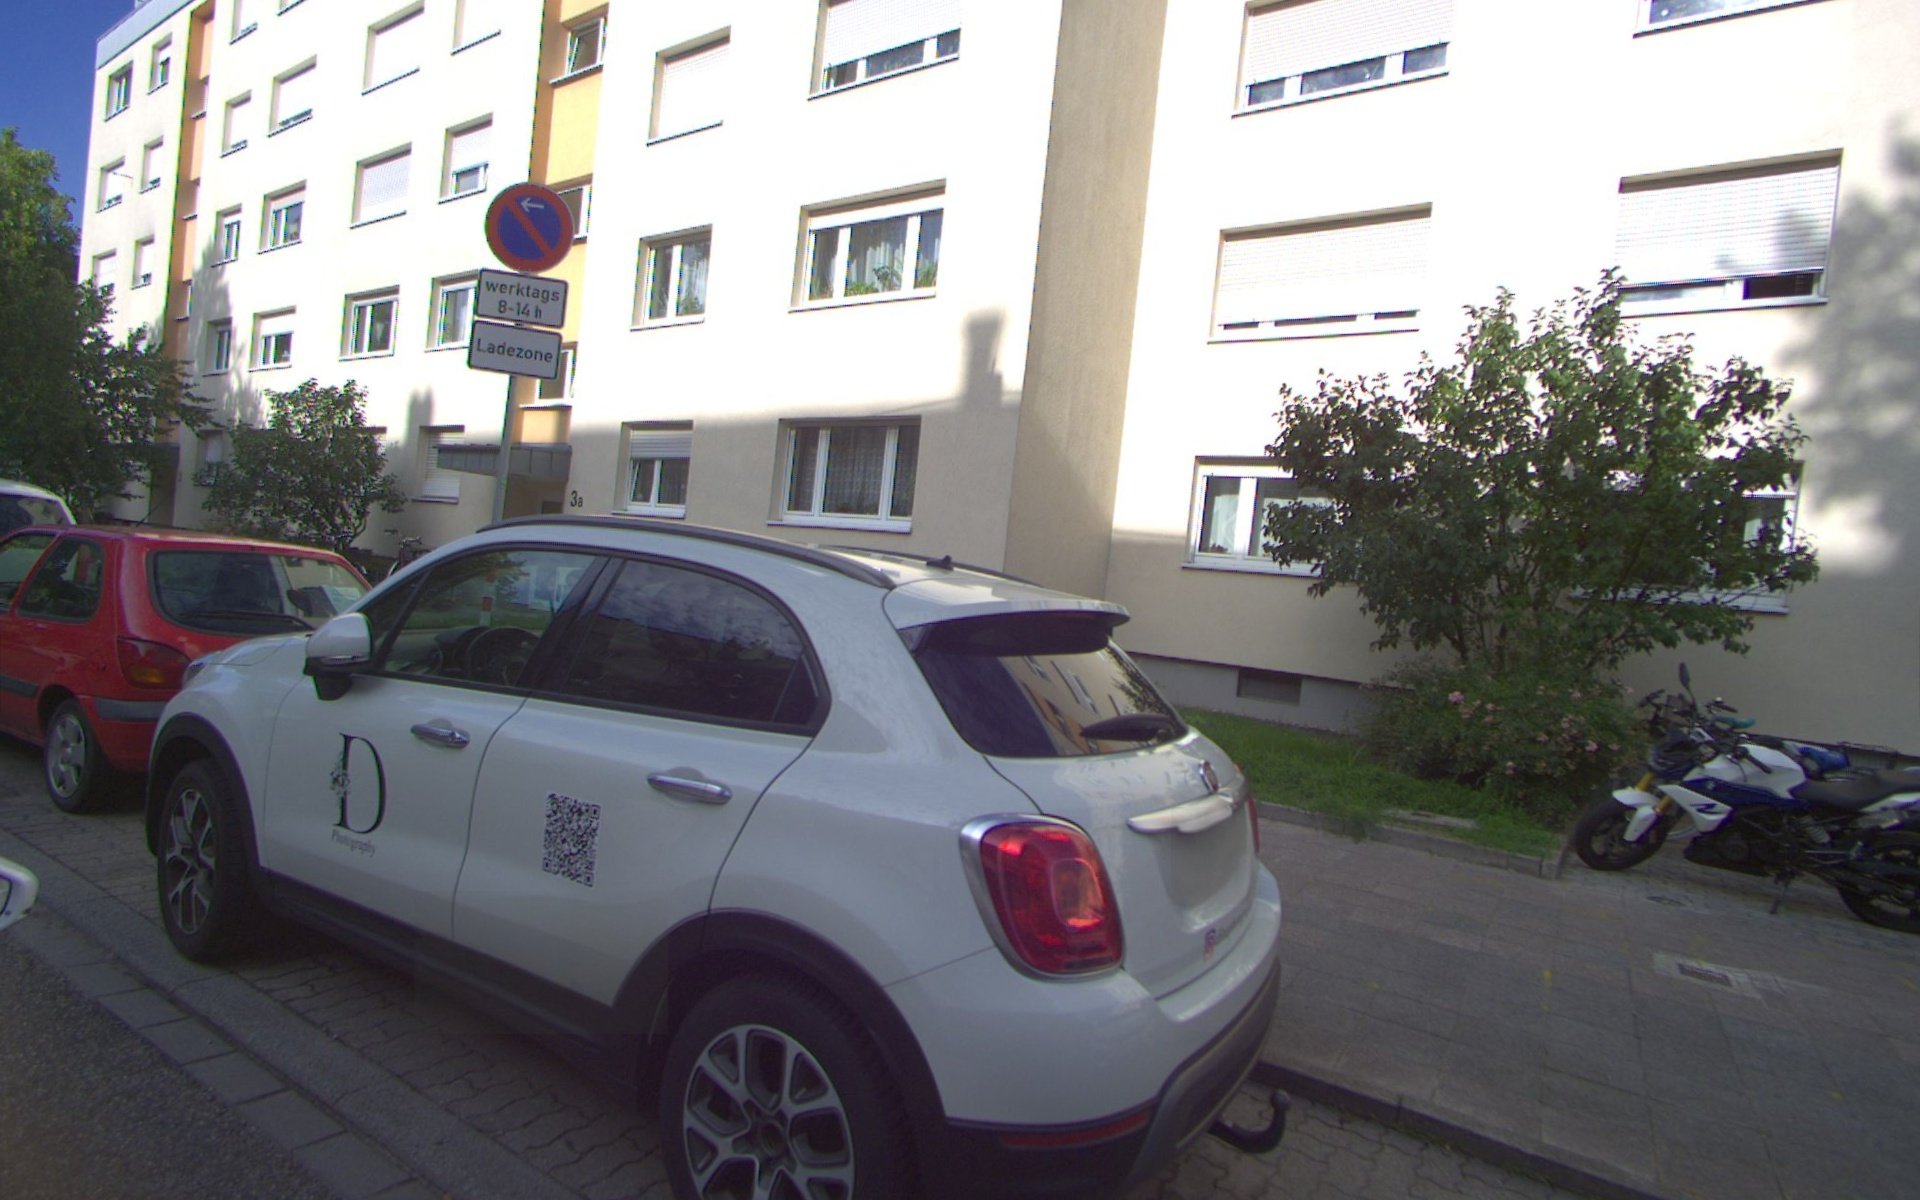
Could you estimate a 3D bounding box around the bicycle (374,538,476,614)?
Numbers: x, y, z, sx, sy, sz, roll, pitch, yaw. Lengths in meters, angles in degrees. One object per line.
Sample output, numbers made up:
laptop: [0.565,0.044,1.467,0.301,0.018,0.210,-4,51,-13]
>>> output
bicycle: [-9.469,-0.434,17.778,2.173,1.129,0.529,7,2,32]

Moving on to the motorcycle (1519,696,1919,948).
motorcycle: [4.783,1.293,6.066,2.354,1.059,0.630,7,3,31]

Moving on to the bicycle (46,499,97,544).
bicycle: [-24.477,-2.173,27.709,1.526,1.069,0.522,7,1,29]

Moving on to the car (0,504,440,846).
car: [-4.949,0.236,5.965,3.613,1.416,1.516,6,2,29]

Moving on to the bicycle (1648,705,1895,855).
bicycle: [6.821,1.488,8.546,1.491,0.939,0.459,7,2,31]

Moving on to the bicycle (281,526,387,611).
bicycle: [-10.381,-0.534,16.650,2.173,1.203,0.596,7,4,32]

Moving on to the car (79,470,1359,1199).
car: [-1.008,0.550,3.401,4.048,1.601,1.730,6,2,30]

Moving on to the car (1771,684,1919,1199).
car: [3.450,1.127,0.441,4.566,1.507,1.728,6,2,33]

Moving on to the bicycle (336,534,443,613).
bicycle: [-9.801,-0.466,17.253,2.173,1.130,0.597,7,3,32]

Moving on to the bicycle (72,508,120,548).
bicycle: [-24.210,-2.016,28.187,1.526,0.976,0.478,7,1,29]

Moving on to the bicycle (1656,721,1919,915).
bicycle: [5.577,1.409,6.640,1.491,0.954,0.459,7,2,31]

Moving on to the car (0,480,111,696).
car: [-8.532,-0.260,8.123,3.411,1.577,1.552,7,1,33]

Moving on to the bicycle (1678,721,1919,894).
bicycle: [6.169,1.471,7.251,1.491,0.939,0.459,7,2,31]
